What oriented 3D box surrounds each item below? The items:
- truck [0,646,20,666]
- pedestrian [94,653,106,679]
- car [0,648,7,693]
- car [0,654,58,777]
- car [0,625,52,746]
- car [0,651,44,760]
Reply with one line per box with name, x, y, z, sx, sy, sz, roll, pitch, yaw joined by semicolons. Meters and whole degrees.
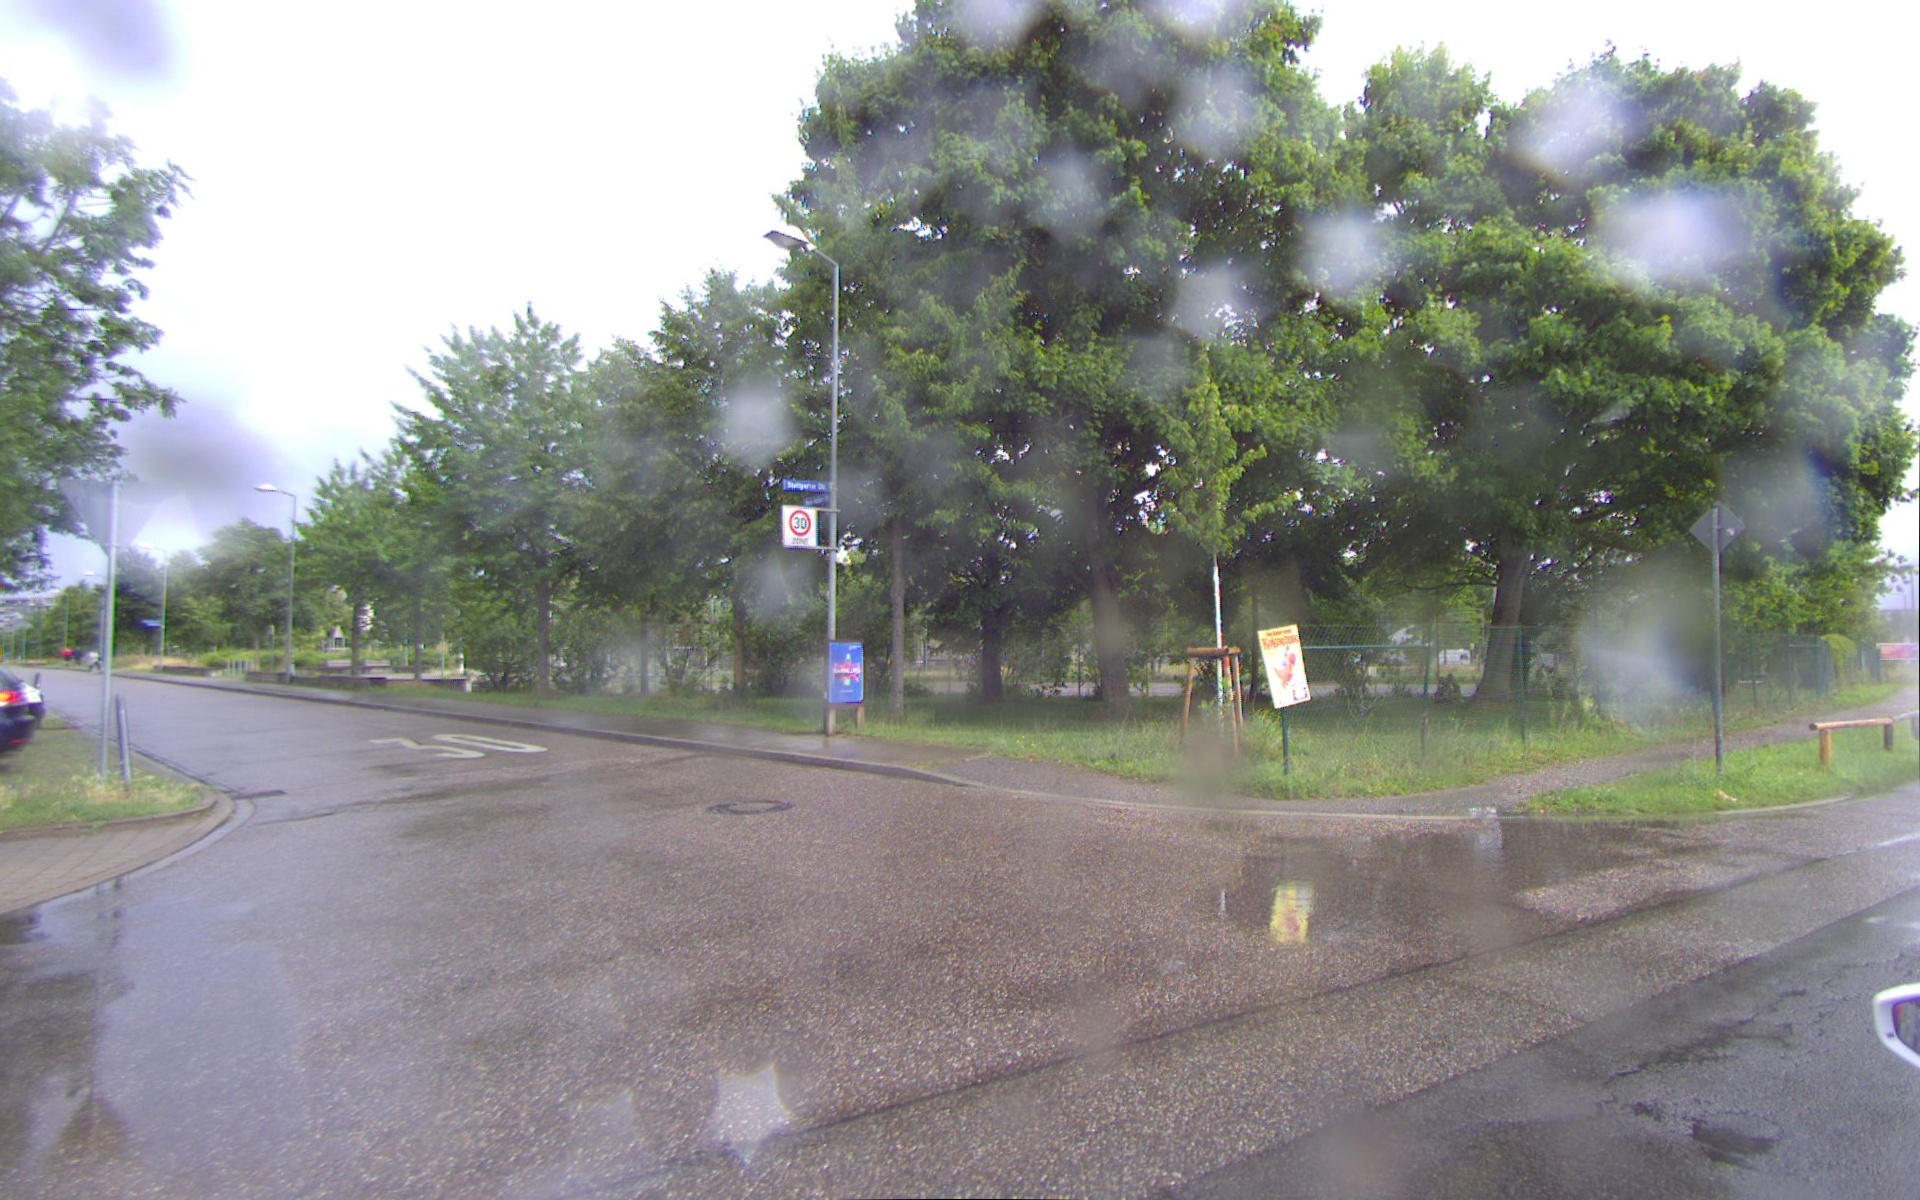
truck;-123.199;7.214;129.879;6.364;2.385;1.966;1;-1;43
pedestrian;-55.647;4.265;65.018;0.508;1.685;0.488;2;-4;-44
car;-35.309;2.422;34.091;1.620;1.555;4.163;-3;-4;42
car;-13.062;1.322;11.296;1.620;1.414;4.166;0;-3;42
car;-16.551;1.256;14.951;1.620;1.859;4.327;0;-3;42
car;-14.565;1.362;12.801;1.664;1.414;4.107;0;-3;42
